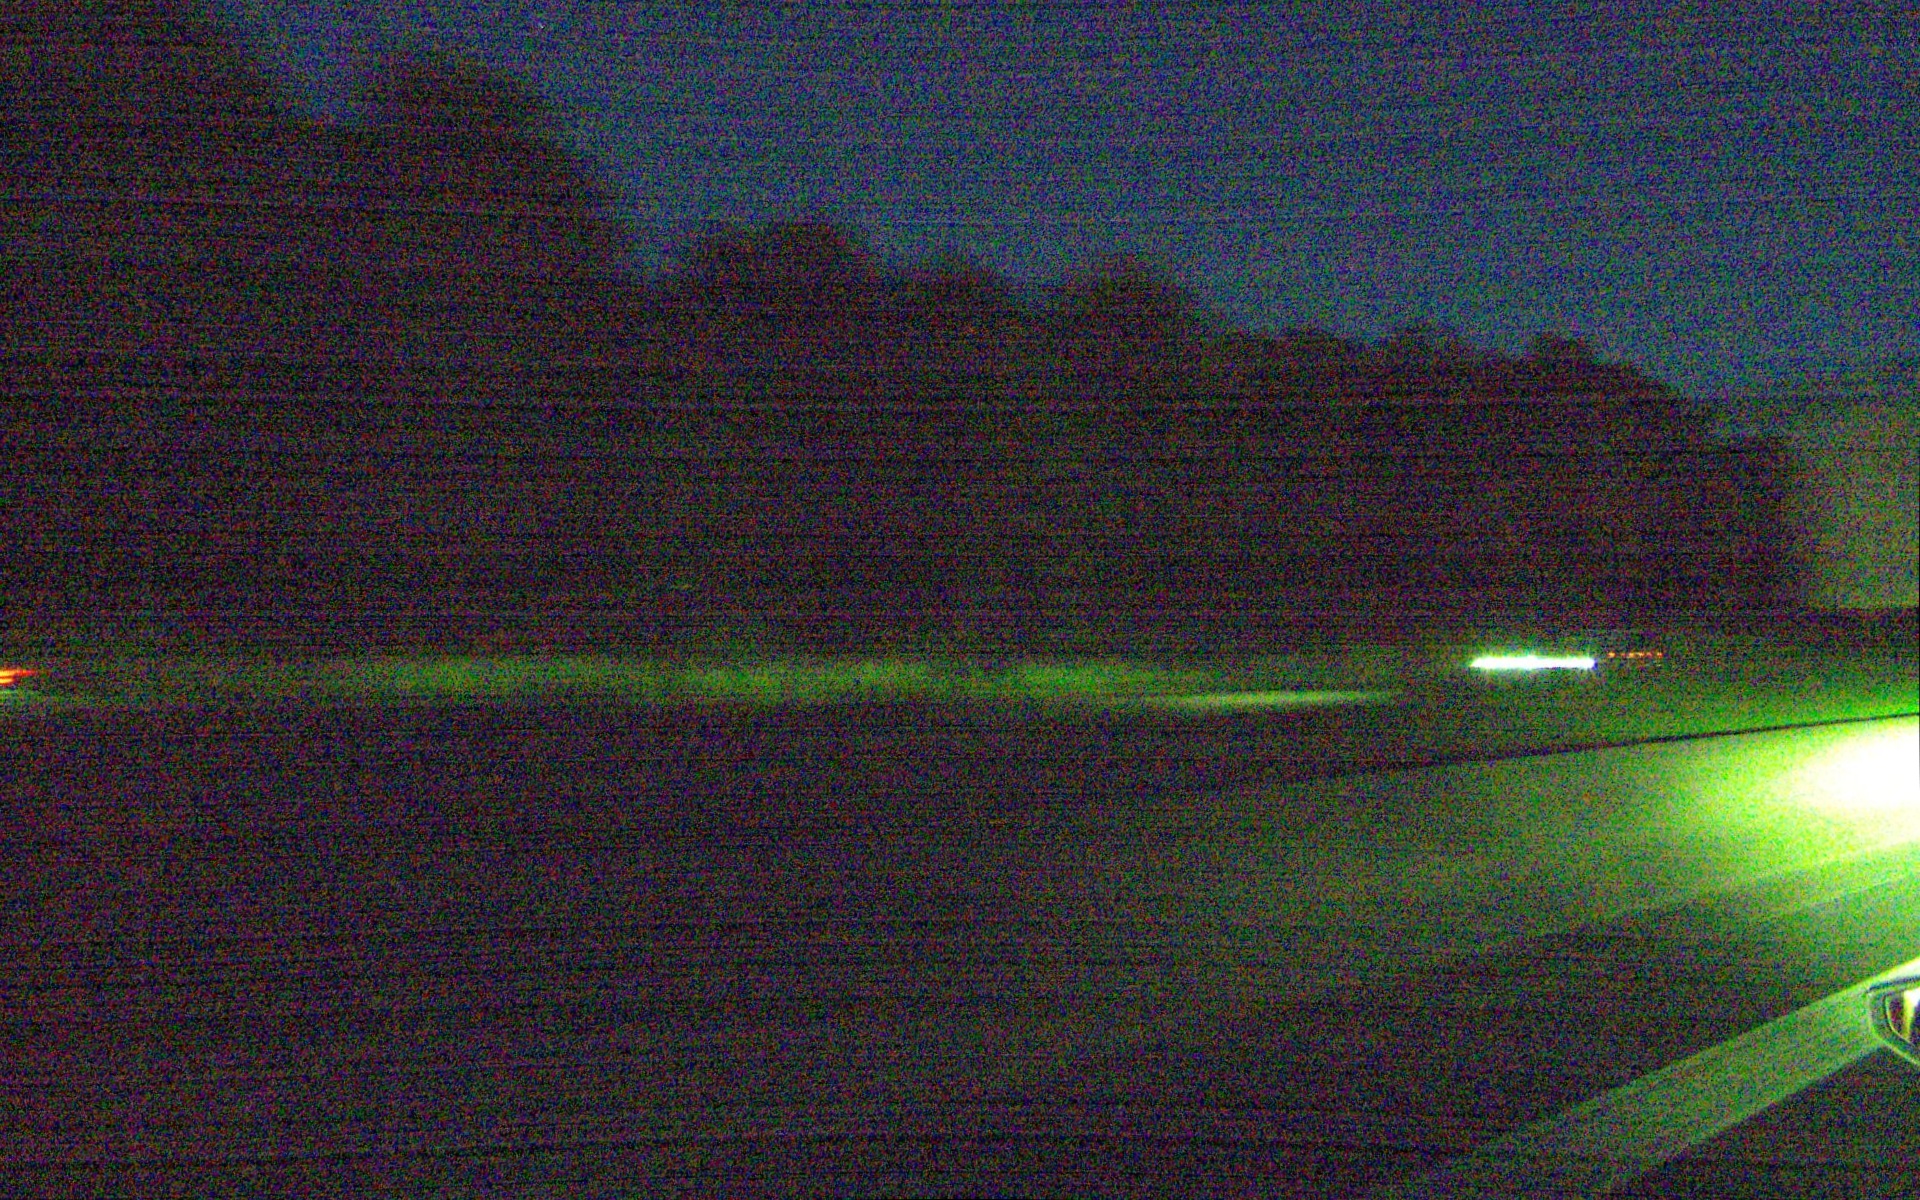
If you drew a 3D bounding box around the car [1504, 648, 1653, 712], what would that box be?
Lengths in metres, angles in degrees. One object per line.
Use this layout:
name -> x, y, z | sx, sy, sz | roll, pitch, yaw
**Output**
car -> 17.164, 2.218, 27.815 | 4.419, 1.571, 1.629 | 3, -1, -31
